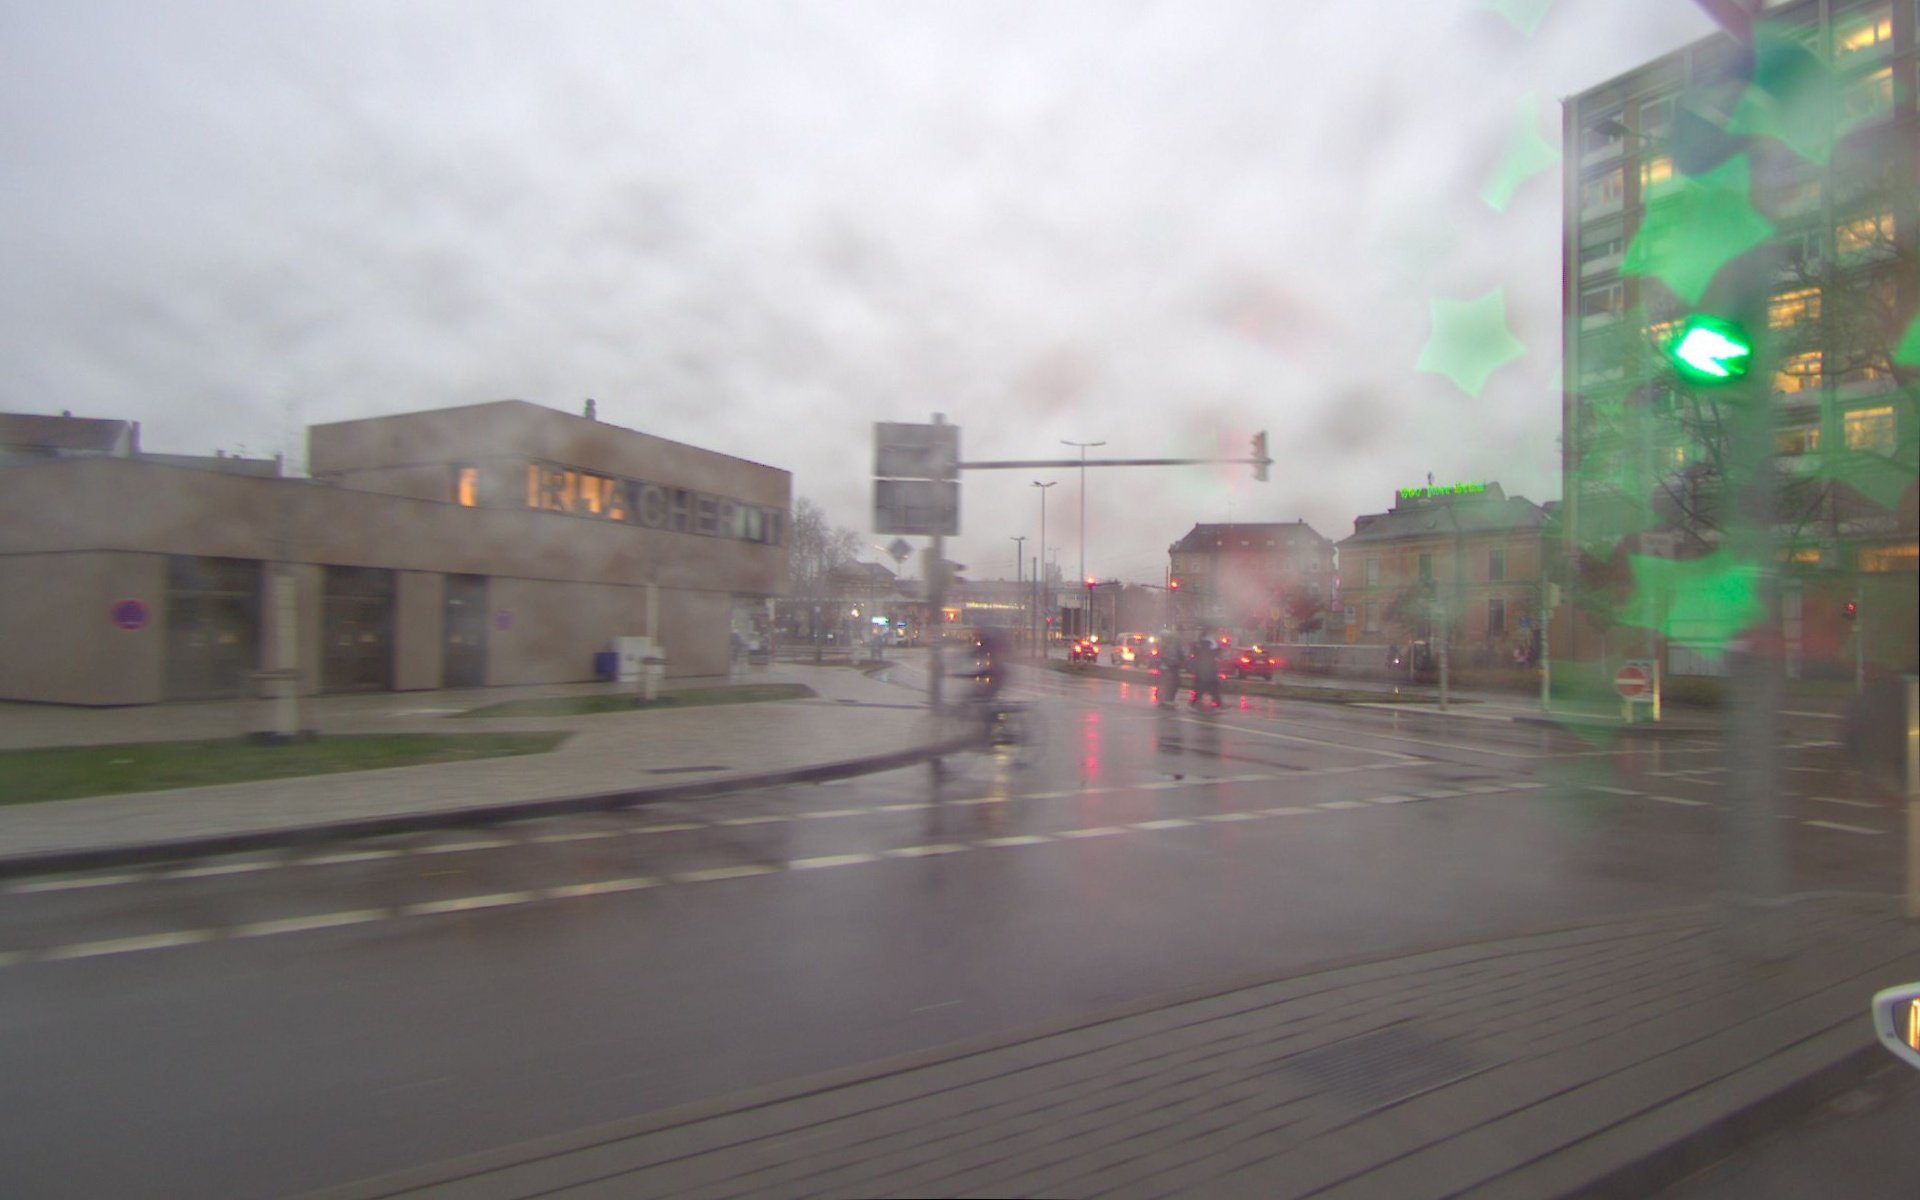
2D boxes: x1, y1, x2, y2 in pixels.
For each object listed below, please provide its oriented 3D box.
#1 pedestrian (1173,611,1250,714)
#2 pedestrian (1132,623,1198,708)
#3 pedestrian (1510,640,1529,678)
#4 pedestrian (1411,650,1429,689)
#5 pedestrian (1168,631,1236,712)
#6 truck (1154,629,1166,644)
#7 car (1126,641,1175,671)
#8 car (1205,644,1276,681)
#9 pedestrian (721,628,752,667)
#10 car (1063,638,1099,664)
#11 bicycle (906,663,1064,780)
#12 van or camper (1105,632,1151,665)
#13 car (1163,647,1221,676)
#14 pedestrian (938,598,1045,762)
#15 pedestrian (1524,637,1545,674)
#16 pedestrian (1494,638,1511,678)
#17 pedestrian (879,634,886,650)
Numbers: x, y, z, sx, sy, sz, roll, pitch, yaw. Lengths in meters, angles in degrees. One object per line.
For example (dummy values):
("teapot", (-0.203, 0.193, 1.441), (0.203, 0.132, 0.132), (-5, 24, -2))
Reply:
("pedestrian", (5.266, 1.292, 21.100), (1.194, 2.077, 1.032), (1, 1, -13))
("pedestrian", (4.754, 1.483, 23.257), (1.027, 1.883, 1.057), (1, 1, -42))
("pedestrian", (25.905, 2.733, 46.501), (0.657, 1.710, 0.611), (-2, -1, 22))
("pedestrian", (24.960, 3.741, 54.488), (0.794, 2.040, 0.760), (2, 1, 22))
("pedestrian", (5.963, 1.725, 24.746), (1.024, 1.883, 1.223), (1, 1, -34))
("truck", (35.556, 6.522, 178.471), (1.960, 2.727, 5.119), (0, -2, 14))
("car", (11.476, 3.345, 60.812), (1.757, 1.621, 4.539), (3, -2, -5))
("car", (13.110, 2.913, 47.149), (1.675, 1.501, 3.866), (4, -2, -9))
("pedestrian", (-11.167, 2.364, 50.244), (1.044, 1.944, 1.121), (-1, -2, 30))
("car", (8.557, 3.586, 71.246), (1.854, 1.795, 3.999), (1, -2, -3))
("bicycle", (0.308, 1.314, 11.282), (1.859, 1.191, 0.617), (2, -4, -42))
("van or camper", (11.549, 3.349, 69.445), (2.166, 2.137, 4.987), (2, -2, -1))
("car", (12.348, 3.268, 53.671), (1.634, 1.422, 4.116), (3, -3, -8))
("pedestrian", (0.354, 0.882, 11.331), (0.974, 1.756, 0.709), (2, -4, -42))
("pedestrian", (26.576, 2.571, 46.458), (0.706, 1.710, 0.760), (-1, -2, 21))
("pedestrian", (25.259, 2.694, 46.770), (0.574, 1.804, 0.769), (-2, -3, 22))
("pedestrian", (-9.234, 4.994, 119.188), (0.819, 1.844, 0.695), (0, -2, -6))
